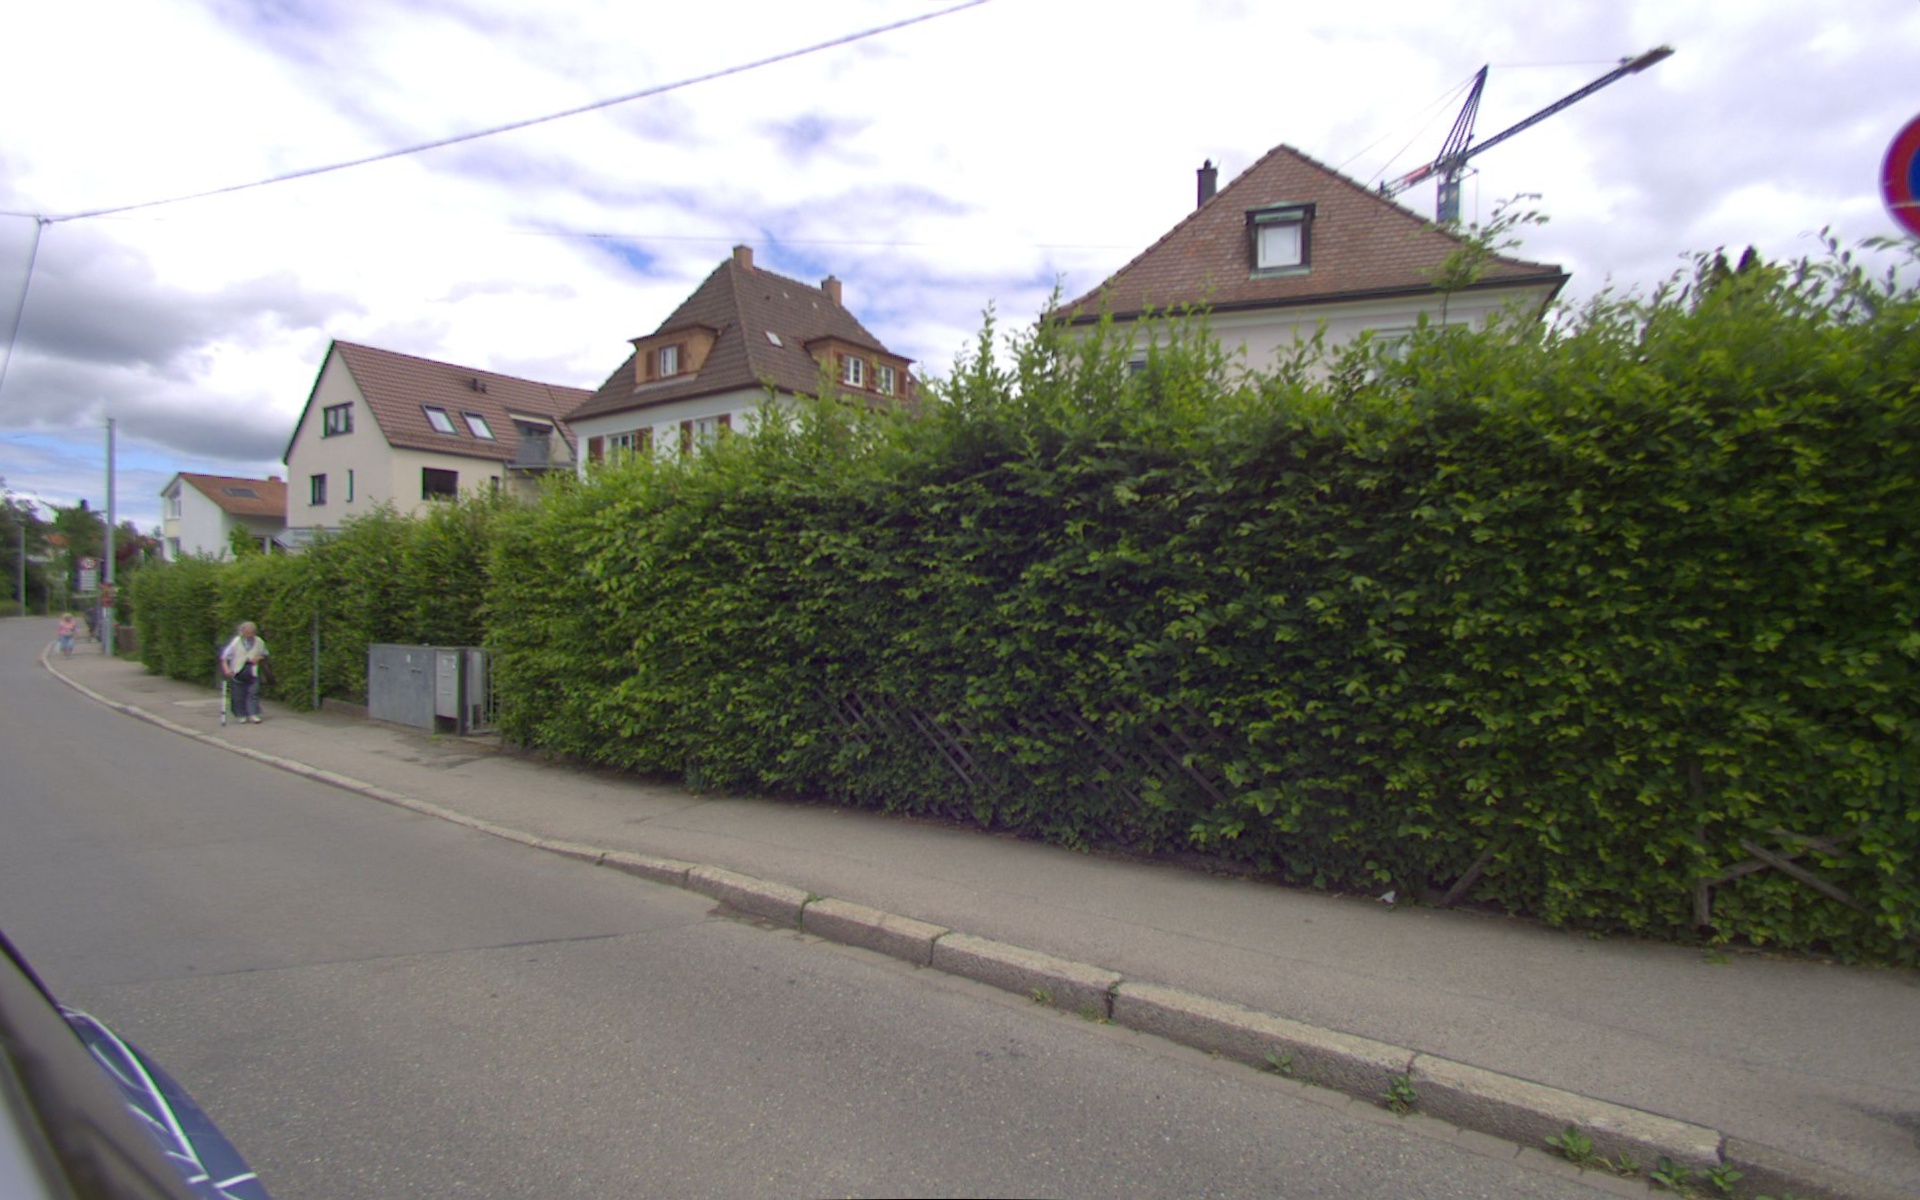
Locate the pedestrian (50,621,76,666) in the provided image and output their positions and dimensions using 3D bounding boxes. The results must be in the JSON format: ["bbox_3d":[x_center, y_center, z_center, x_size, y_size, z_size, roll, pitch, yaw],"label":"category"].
[{"bbox_3d":[-32.332,1.562,36.472,0.608,1.611,0.611,-1,-1,41],"label":"pedestrian"}]

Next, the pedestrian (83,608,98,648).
[{"bbox_3d":[-43.366,1.390,50.459,0.528,1.967,0.528,1,-1,-38],"label":"pedestrian"}]

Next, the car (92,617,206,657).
[{"bbox_3d":[-37.841,1.690,47.272,1.885,1.741,3.942,-1,-1,44],"label":"car"}]

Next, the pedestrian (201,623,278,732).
[{"bbox_3d":[-10.711,1.129,15.054,0.542,1.542,0.742,-1,0,29],"label":"pedestrian"}]
